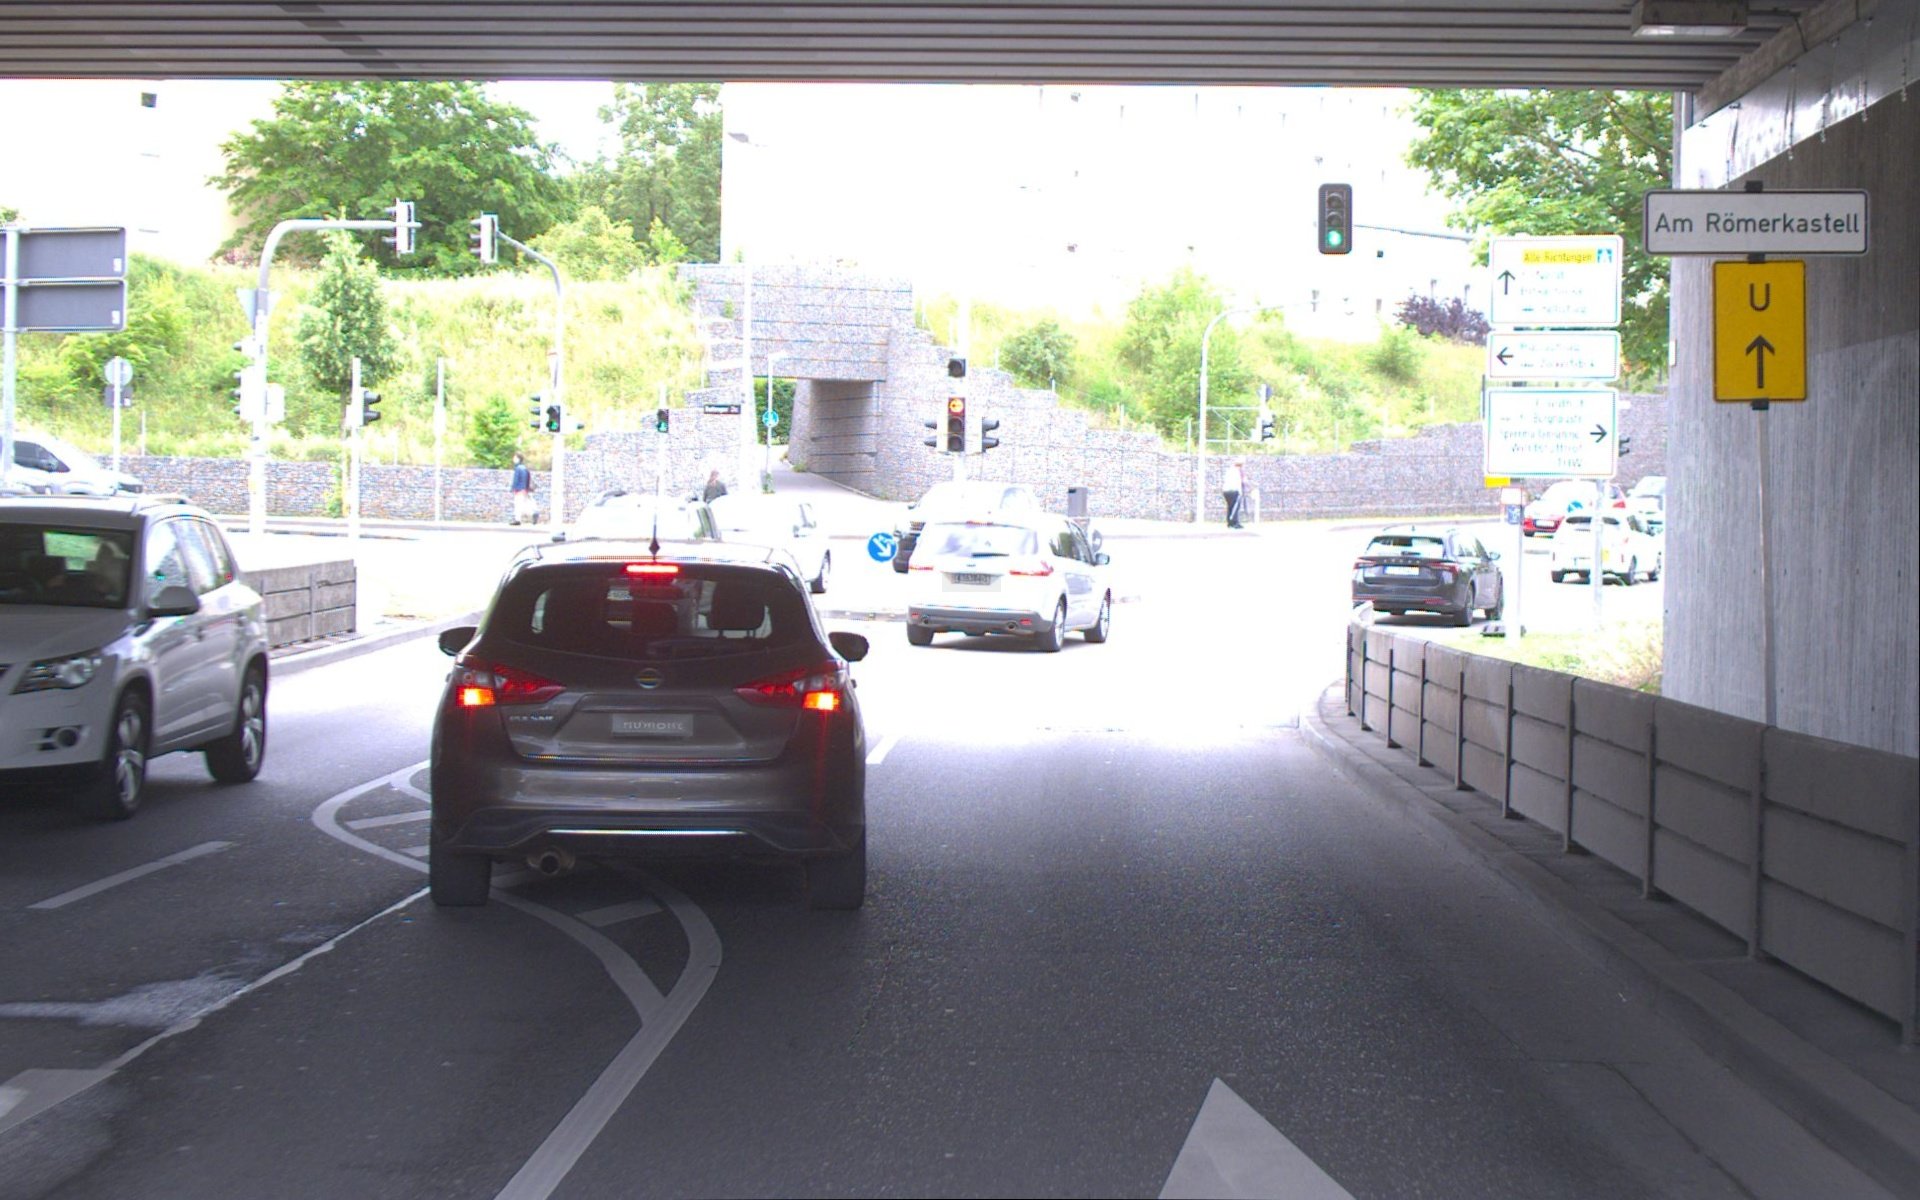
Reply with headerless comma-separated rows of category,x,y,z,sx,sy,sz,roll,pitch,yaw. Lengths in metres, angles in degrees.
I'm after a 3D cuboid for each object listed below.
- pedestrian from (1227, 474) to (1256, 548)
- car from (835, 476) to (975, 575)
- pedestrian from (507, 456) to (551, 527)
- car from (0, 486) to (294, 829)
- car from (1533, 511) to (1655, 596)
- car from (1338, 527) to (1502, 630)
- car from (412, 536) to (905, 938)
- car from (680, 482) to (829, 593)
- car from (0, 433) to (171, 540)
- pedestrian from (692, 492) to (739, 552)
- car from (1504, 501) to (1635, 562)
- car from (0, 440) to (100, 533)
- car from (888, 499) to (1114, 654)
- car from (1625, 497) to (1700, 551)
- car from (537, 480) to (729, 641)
pedestrian,7.222,-2.282,88.248,0.604,1.856,0.597,2,2,-4
car,-0.966,-1.371,62.708,1.994,1.692,4.167,2,2,6
pedestrian,-10.010,-2.519,79.785,0.952,1.607,0.700,2,2,-7
car,-5.020,0.225,18.788,1.783,1.654,4.108,2,1,2
car,12.790,-0.947,69.174,1.995,1.612,3.997,2,2,16
car,7.060,-0.358,52.485,1.901,1.461,3.997,2,2,16
car,-1.377,0.495,15.206,1.844,1.488,4.001,2,1,-6
car,-3.102,-0.976,52.548,1.763,1.586,4.000,2,2,3
car,-17.391,-2.189,65.996,3.987,1.941,2.000,2,1,0
pedestrian,-5.321,-1.699,74.805,0.910,1.219,0.729,5,2,-6
car,16.311,-1.832,91.863,1.845,1.449,3.992,6,5,34
car,-17.838,-2.111,62.119,3.988,1.590,1.872,3,2,7
car,0.546,-0.309,41.536,1.831,1.700,3.866,3,2,14
car,19.905,-2.138,97.381,1.162,1.361,2.500,6,3,32
car,-3.866,-0.515,41.144,1.687,1.702,3.790,3,3,3
